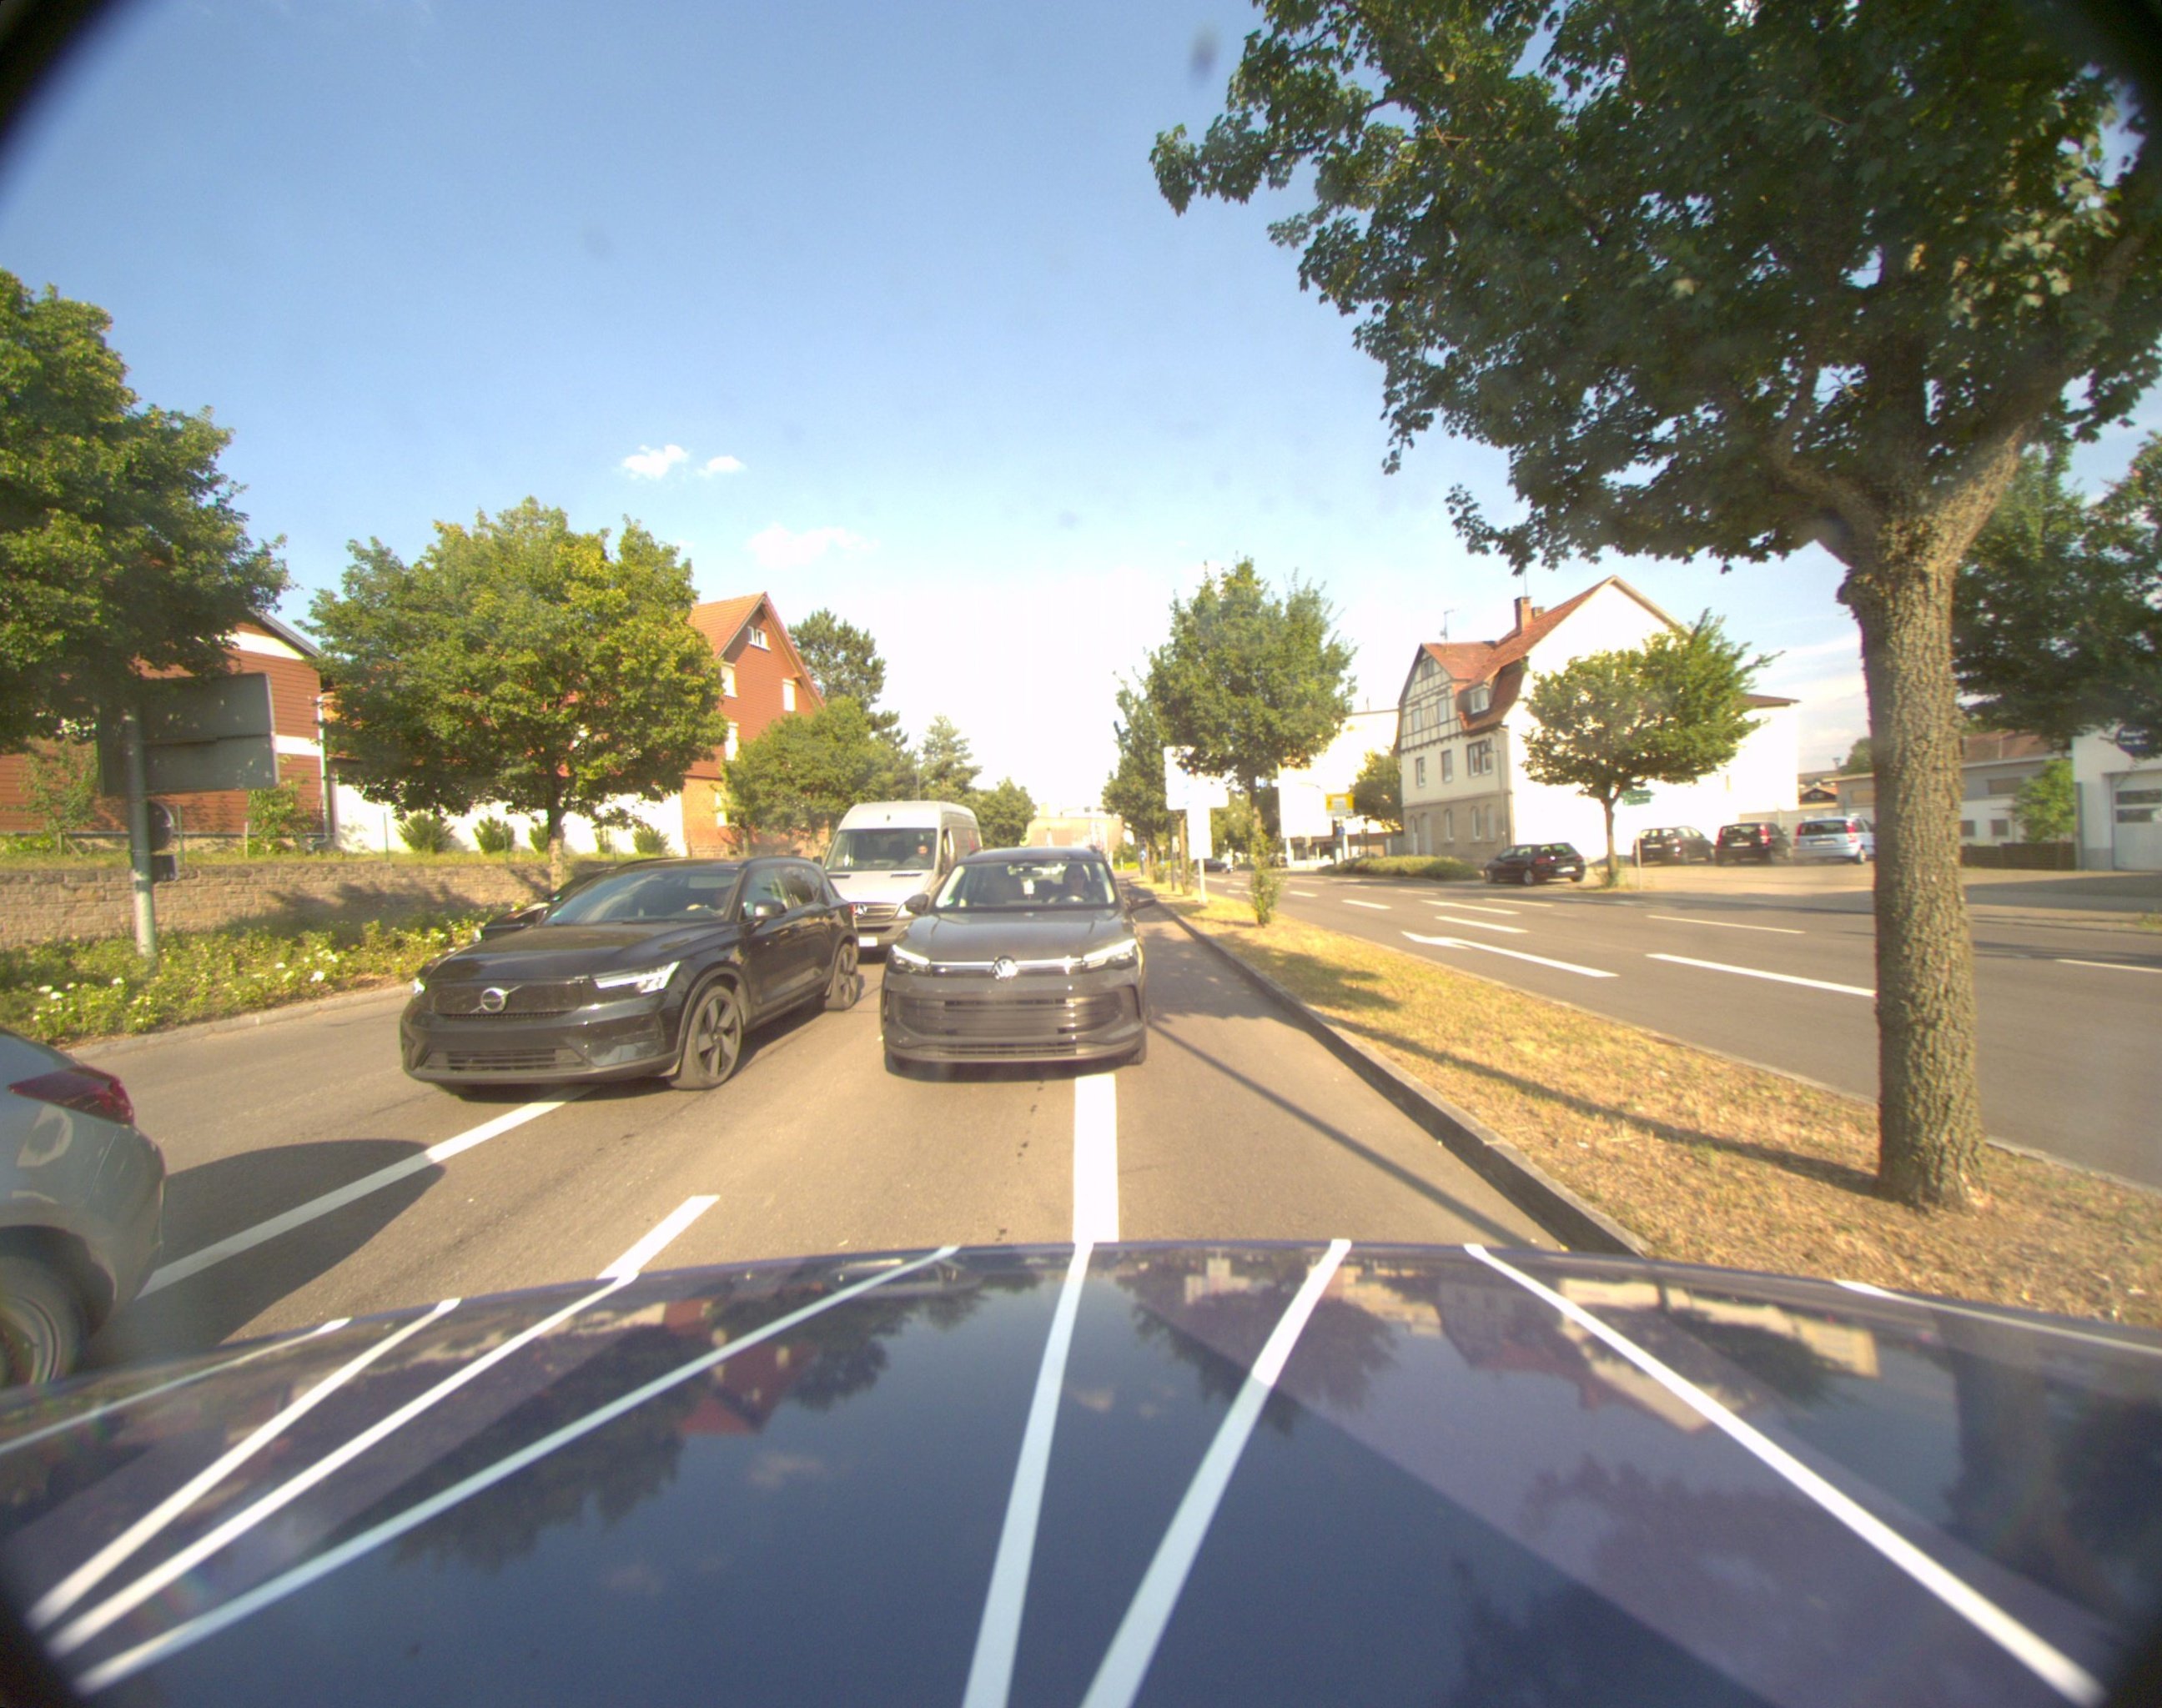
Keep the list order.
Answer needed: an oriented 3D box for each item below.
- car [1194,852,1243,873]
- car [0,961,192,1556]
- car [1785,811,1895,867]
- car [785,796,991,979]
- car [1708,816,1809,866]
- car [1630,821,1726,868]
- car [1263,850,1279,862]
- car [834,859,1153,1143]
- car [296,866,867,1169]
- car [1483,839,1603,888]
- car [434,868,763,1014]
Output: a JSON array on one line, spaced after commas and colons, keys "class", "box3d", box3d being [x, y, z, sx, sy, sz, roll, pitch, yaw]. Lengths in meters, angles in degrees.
[{"class": "car", "box3d": [11.808, 0.736, 65.313, 3.993, 1.622, 1.862, -2, 0, 14]}, {"class": "car", "box3d": [-3.615, 1.068, 0.157, 1.766, 1.445, 4.318, -1, 0, 0]}, {"class": "car", "box3d": [24.876, -0.500, 24.867, 3.830, 1.493, 1.816, -5, 0, -35]}, {"class": "car", "box3d": [-3.073, 0.460, 13.713, 1.992, 2.554, 6.046, -1, 0, 2]}, {"class": "car", "box3d": [24.653, -0.486, 27.633, 3.830, 1.493, 1.816, -5, 0, -35]}, {"class": "car", "box3d": [23.375, -0.387, 29.729, 3.830, 1.493, 1.816, -5, 0, -35]}, {"class": "car", "box3d": [30.301, 0.312, 120.945, 1.778, 1.683, 4.006, -2, 0, 24]}, {"class": "car", "box3d": [-0.454, 0.880, 6.593, 1.845, 1.600, 4.318, -1, 0, 2]}, {"class": "car", "box3d": [-3.402, 0.954, 6.404, 1.845, 1.600, 4.318, -1, 0, 2]}, {"class": "car", "box3d": [16.029, 0.286, 26.595, 1.818, 1.442, 3.825, -5, 0, 1]}, {"class": "car", "box3d": [-6.656, 1.076, 11.246, 1.766, 1.599, 4.566, -1, 0, 3]}]
